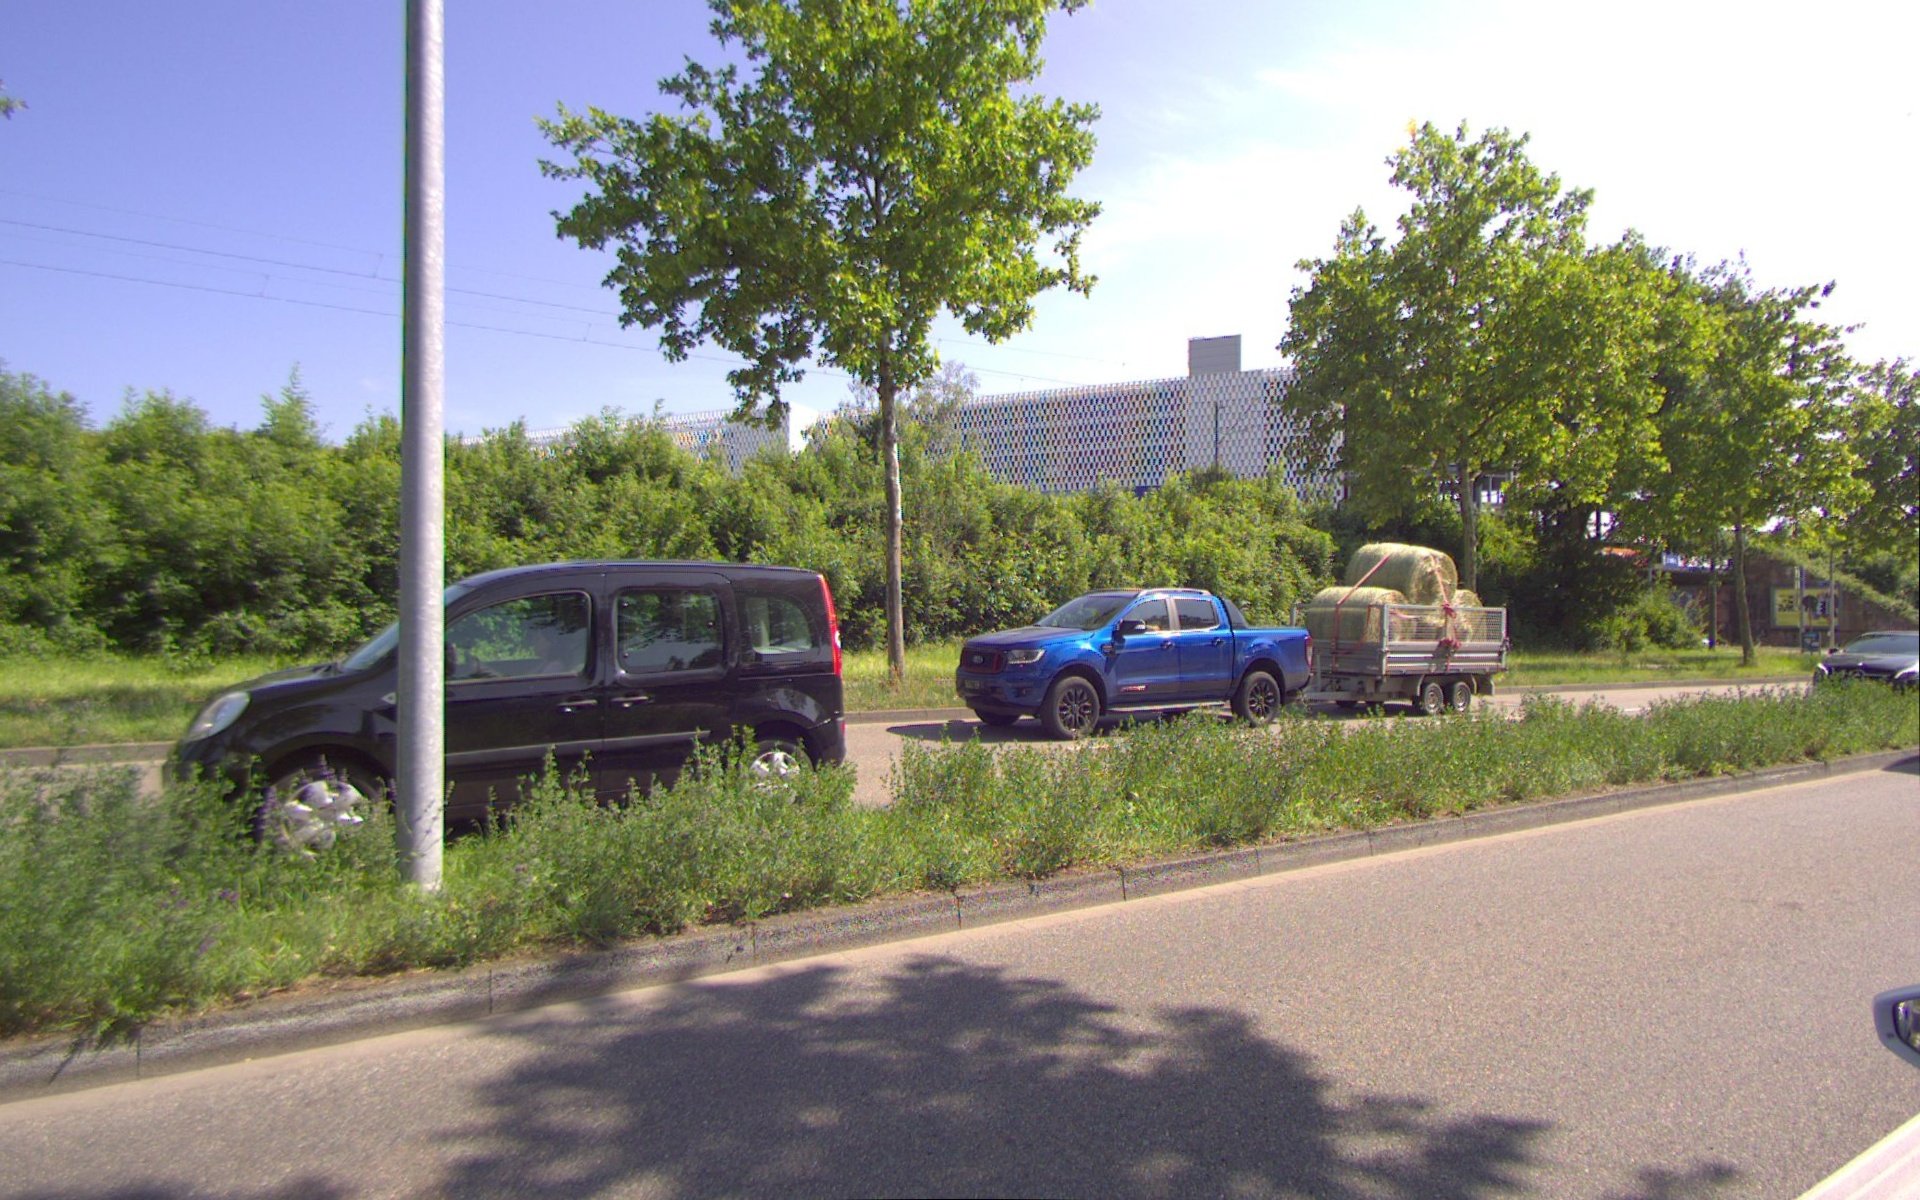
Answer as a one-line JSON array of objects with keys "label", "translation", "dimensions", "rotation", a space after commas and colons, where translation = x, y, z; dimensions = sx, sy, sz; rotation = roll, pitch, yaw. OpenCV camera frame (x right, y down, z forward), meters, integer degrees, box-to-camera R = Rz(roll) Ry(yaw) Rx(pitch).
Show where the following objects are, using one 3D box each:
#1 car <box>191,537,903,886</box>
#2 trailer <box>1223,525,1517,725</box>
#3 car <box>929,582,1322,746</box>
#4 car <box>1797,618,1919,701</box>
[{"label": "car", "translation": [-2.666, 0.613, 7.096], "dimensions": [4.184, 1.833, 1.721], "rotation": [1, 1, -32]}, {"label": "trailer", "translation": [6.617, 0.379, 16.057], "dimensions": [4.775, 2.780, 1.869], "rotation": [1, 1, -32]}, {"label": "car", "translation": [2.328, 0.763, 13.347], "dimensions": [5.316, 1.813, 1.754], "rotation": [1, 1, -32]}, {"label": "car", "translation": [18.569, 1.153, 20.119], "dimensions": [3.745, 1.491, 1.595], "rotation": [2, 0, -30]}]
